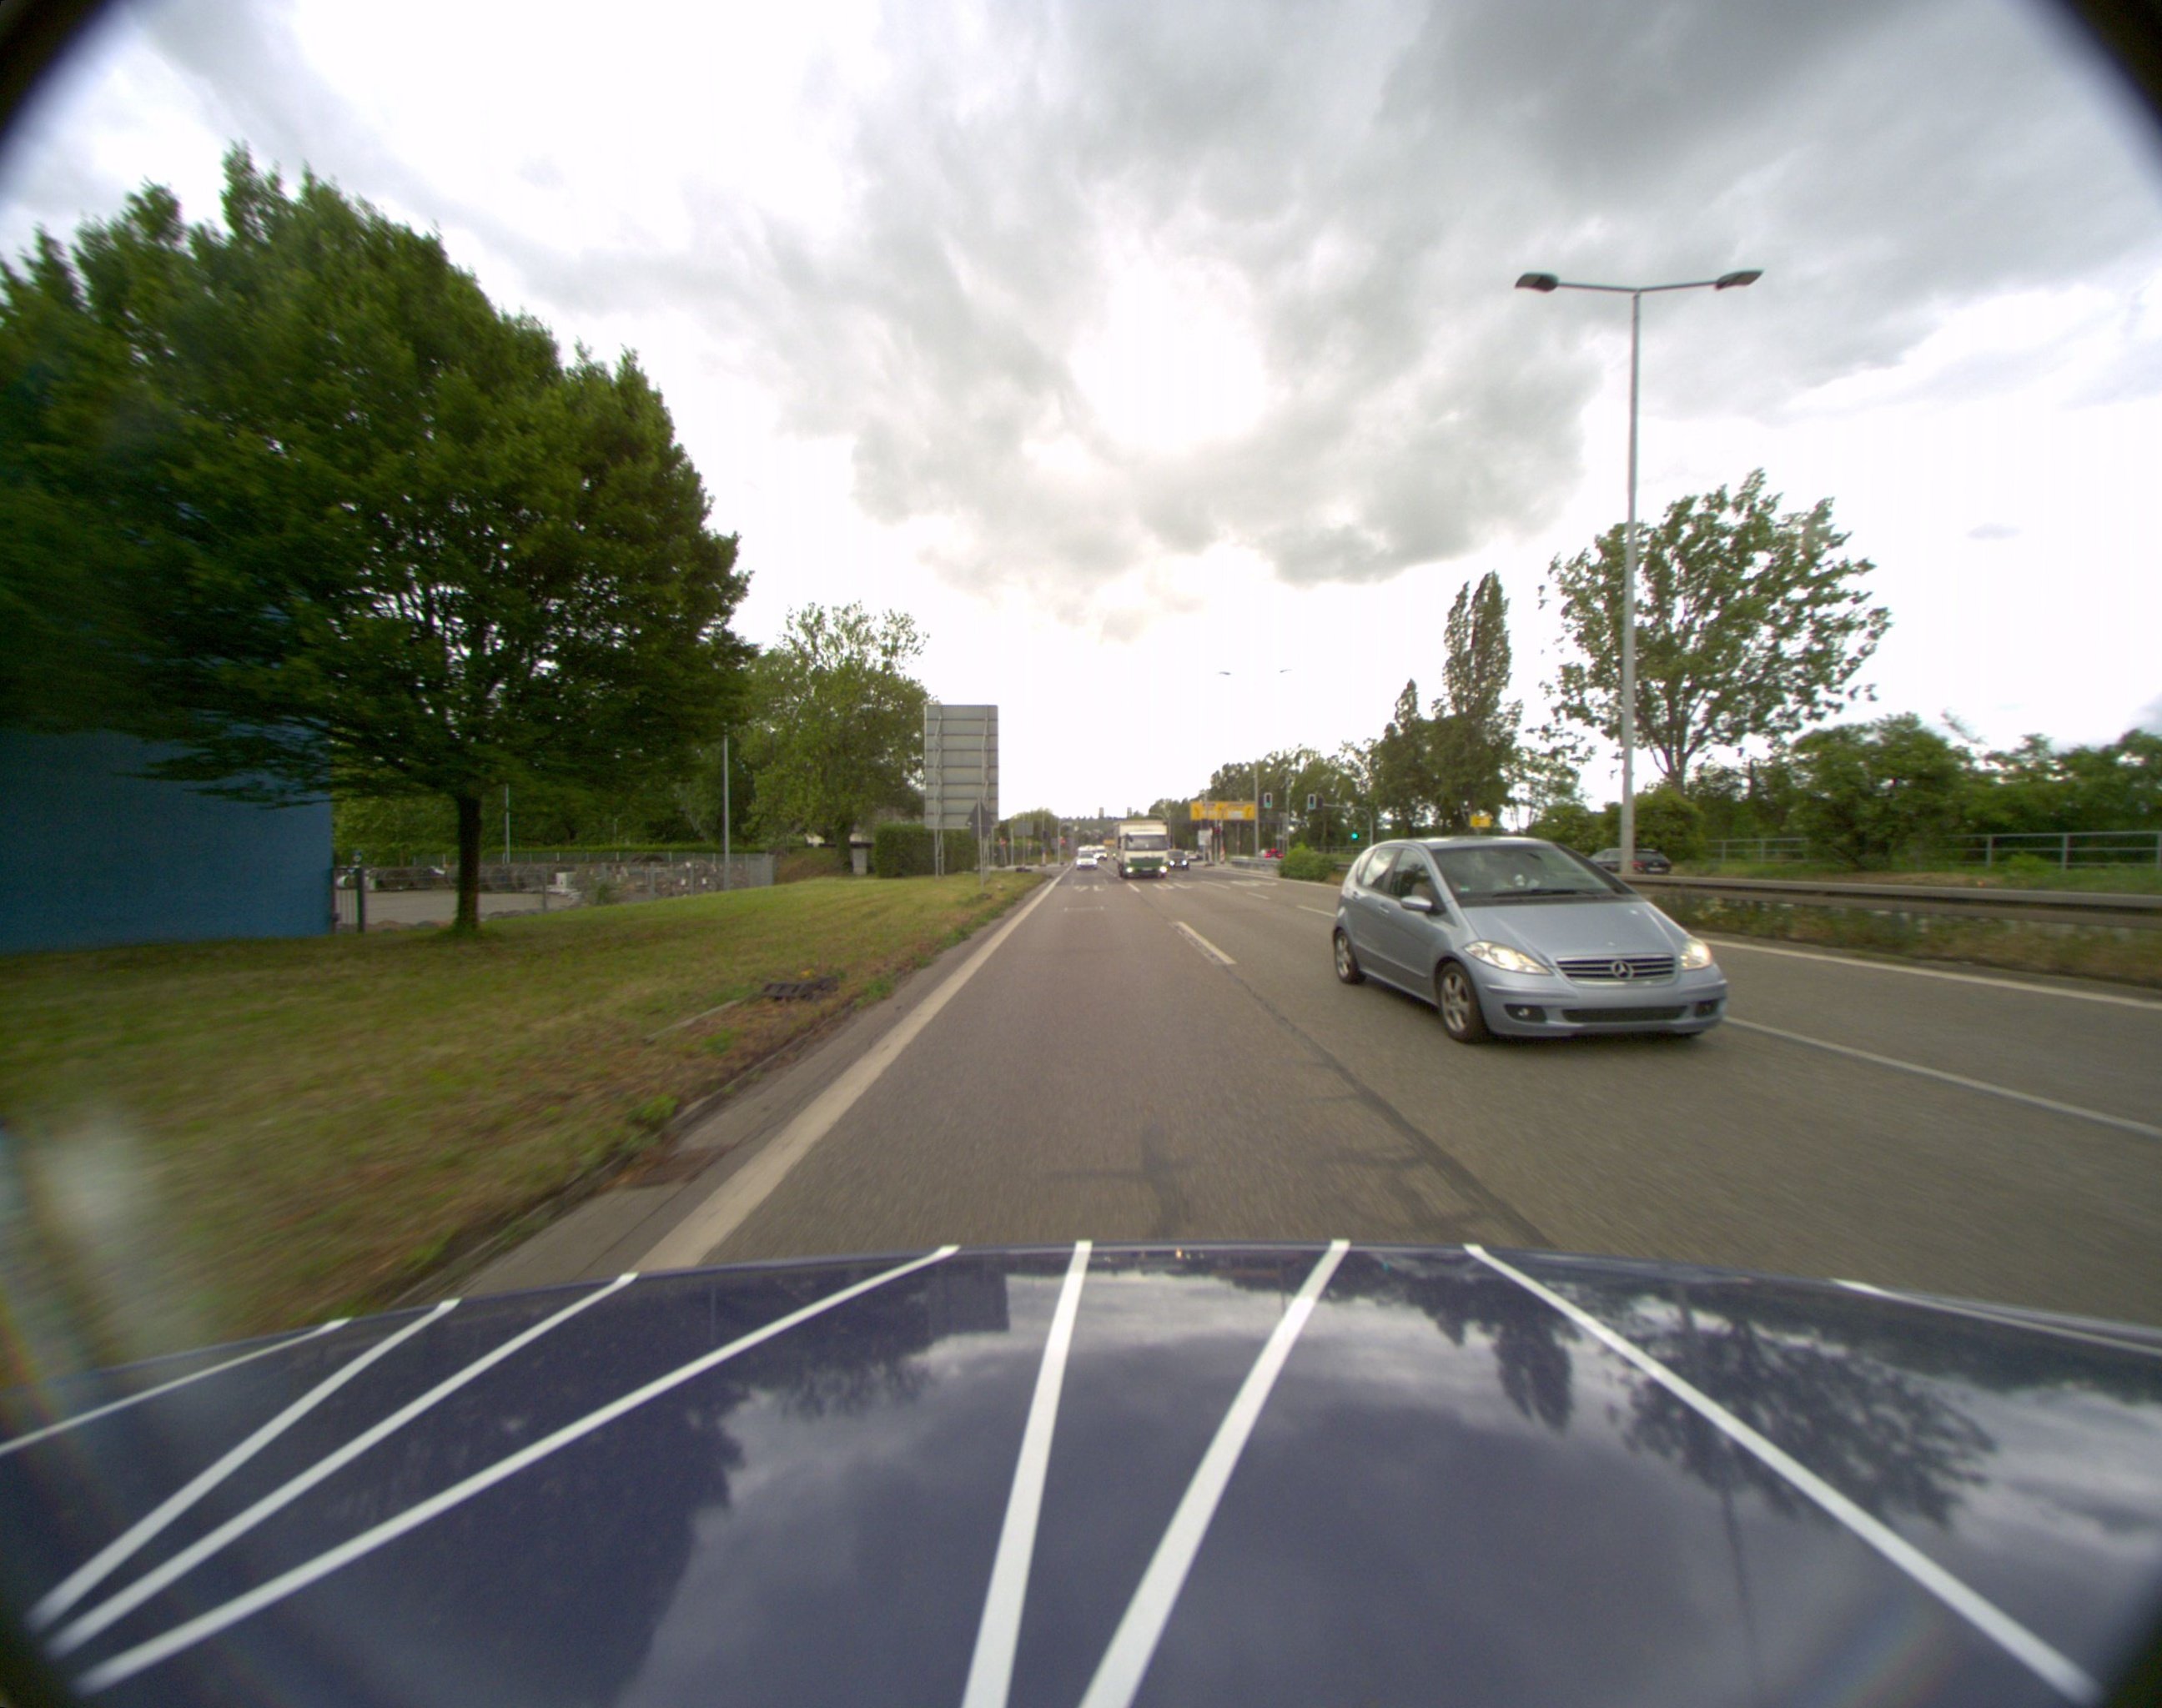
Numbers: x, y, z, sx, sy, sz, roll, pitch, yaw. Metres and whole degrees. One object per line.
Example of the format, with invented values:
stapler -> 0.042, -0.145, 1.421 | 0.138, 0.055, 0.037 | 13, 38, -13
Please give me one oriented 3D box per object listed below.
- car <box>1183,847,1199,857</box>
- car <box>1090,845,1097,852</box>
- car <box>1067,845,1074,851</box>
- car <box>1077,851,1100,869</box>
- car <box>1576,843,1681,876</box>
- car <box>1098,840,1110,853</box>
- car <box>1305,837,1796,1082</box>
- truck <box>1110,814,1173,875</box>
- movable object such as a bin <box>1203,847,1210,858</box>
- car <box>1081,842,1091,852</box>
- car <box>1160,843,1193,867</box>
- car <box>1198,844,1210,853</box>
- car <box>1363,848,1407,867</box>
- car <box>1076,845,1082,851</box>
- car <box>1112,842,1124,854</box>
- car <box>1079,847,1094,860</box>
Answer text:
car -> 16.788, -0.323, 116.434 | 1.702, 1.517, 5.001 | 1, 0, 0
car -> 3.606, -1.568, 217.404 | 1.949, 1.811, 3.999 | -1, 0, 0
car -> -3.243, -1.768, 233.557 | 1.949, 1.811, 3.999 | -1, 0, 0
car -> 0.606, 0.494, 67.148 | 1.949, 1.517, 4.000 | -1, 0, 0
car -> 23.032, 0.218, 32.157 | 1.582, 1.291, 4.061 | -1, 0, 1
car -> 4.122, -1.356, 134.553 | 1.949, 2.176, 3.999 | -1, 0, 0
car -> 3.601, 0.668, 6.907 | 1.883, 1.530, 4.146 | -1, 0, 0
truck -> 3.397, -0.516, 45.645 | 2.657, 3.121, 12.507 | -1, 0, 0
movable object such as a bin -> 12.156, -0.138, 73.437 | 0.570, 1.018, 0.622 | -1, 1, 4
car -> 0.942, -1.310, 148.990 | 1.949, 1.811, 3.999 | -1, 0, 0
car -> 6.979, 0.078, 55.943 | 1.883, 1.715, 4.146 | -1, 0, 0
car -> 20.260, -0.865, 125.287 | 1.508, 1.467, 2.633 | 1, 0, 1
car -> 22.790, 0.253, 57.113 | 1.781, 1.410, 4.066 | -1, 0, 1
car -> -0.634, -1.740, 237.301 | 1.949, 1.811, 3.999 | -1, 0, 0
car -> 6.870, -1.069, 141.178 | 1.949, 2.176, 3.999 | -1, 0, 0
car -> 0.708, -0.086, 101.874 | 1.883, 1.715, 4.146 | -1, 0, 0
